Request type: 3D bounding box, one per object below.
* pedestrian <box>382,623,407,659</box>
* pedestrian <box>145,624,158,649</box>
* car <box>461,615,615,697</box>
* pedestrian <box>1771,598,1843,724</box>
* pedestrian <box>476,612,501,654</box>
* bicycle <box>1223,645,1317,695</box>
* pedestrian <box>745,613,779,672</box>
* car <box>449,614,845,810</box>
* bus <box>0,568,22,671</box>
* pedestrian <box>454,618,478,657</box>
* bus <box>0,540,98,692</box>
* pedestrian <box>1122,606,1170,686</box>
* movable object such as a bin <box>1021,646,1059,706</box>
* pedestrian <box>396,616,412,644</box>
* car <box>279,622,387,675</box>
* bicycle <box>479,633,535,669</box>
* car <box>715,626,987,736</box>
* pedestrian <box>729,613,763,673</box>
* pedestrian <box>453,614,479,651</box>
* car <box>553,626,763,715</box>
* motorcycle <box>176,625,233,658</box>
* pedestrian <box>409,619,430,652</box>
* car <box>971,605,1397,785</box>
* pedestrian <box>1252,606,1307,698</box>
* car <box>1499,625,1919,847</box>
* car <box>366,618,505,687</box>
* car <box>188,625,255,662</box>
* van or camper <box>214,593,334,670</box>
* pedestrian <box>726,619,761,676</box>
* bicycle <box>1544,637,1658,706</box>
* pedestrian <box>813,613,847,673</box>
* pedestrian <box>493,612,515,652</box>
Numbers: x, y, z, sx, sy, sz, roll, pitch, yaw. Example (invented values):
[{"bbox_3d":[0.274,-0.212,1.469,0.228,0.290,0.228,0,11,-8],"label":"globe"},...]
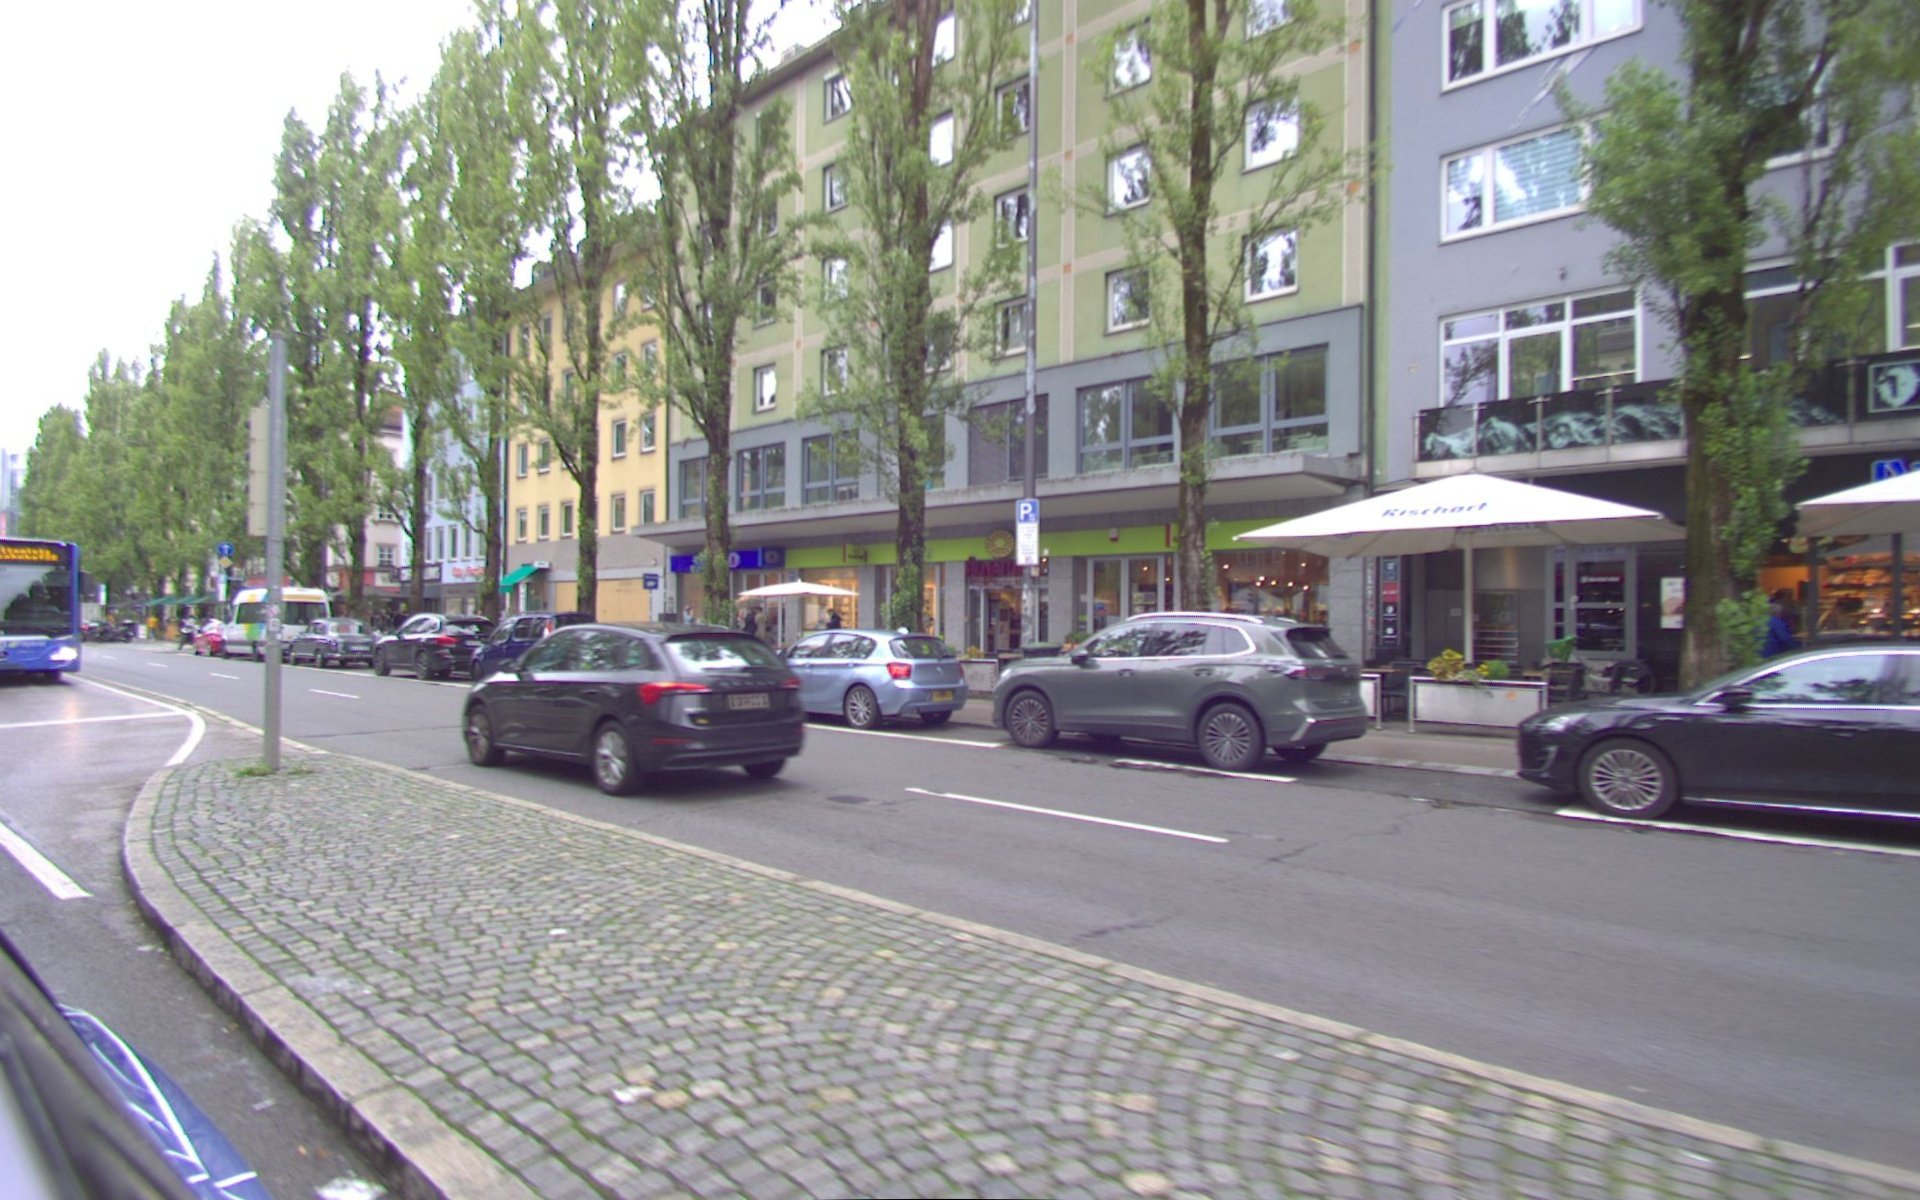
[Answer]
[{"bbox_3d":[-23.270,1.689,41.649,0.668,1.449,0.610,0,-1,-2],"label":"pedestrian"},{"bbox_3d":[-52.094,2.340,65.218,0.600,1.601,0.552,1,-2,-37],"label":"pedestrian"},{"bbox_3d":[-9.657,1.230,23.045,3.768,1.699,1.601,0,-4,40],"label":"car"},{"bbox_3d":[12.397,0.870,14.805,0.756,1.768,0.732,-1,-2,42],"label":"pedestrian"},{"bbox_3d":[-20.338,1.432,43.632,0.723,1.779,0.723,-1,-2,41],"label":"pedestrian"},{"bbox_3d":[6.479,1.447,21.219,1.849,0.979,0.474,-1,-2,43],"label":"bicycle"},{"bbox_3d":[-6.167,1.301,31.516,0.716,1.808,0.739,-1,-2,43],"label":"pedestrian"},{"bbox_3d":[-3.118,0.906,9.669,4.049,1.476,1.738,-1,-3,42],"label":"car"},{"bbox_3d":[-32.796,0.640,32.556,12.855,2.925,2.769,-1,-2,42],"label":"bus"},{"bbox_3d":[-21.048,1.583,43.101,0.712,1.663,0.714,-1,-2,42],"label":"pedestrian"},{"bbox_3d":[-23.305,0.407,23.914,12.854,2.925,2.769,-1,-2,42],"label":"bus"},{"bbox_3d":[4.033,0.991,21.952,0.756,1.685,0.701,-1,-2,42],"label":"pedestrian"},{"bbox_3d":[1.448,1.362,18.311,0.654,1.055,0.729,0,-1,2],"label":"movable object such as a bin"},{"bbox_3d":[-28.913,1.559,52.626,0.551,1.449,0.601,-1,-2,42],"label":"pedestrian"},{"bbox_3d":[-20.004,1.498,32.232,4.258,1.541,1.685,0,-3,40],"label":"car"},{"bbox_3d":[-14.758,1.648,33.021,0.358,1.124,1.657,-1,-2,42],"label":"bicycle"},{"bbox_3d":[-1.792,1.154,15.678,4.399,1.428,1.640,0,-3,41],"label":"car"},{"bbox_3d":[-6.572,1.305,31.046,0.716,1.808,0.739,-1,-2,43],"label":"pedestrian"},{"bbox_3d":[-19.746,1.297,40.480,0.550,1.449,0.759,-1,-2,37],"label":"pedestrian"},{"bbox_3d":[-5.839,1.248,19.258,4.584,1.457,1.685,0,-2,42],"label":"car"},{"bbox_3d":[-34.452,1.879,46.189,0.569,1.432,2.000,-1,-2,35],"label":"motorcycle"},{"bbox_3d":[-27.148,1.775,50.805,0.678,1.663,0.714,-1,-2,42],"label":"pedestrian"},{"bbox_3d":[2.418,0.948,11.781,4.586,1.693,1.760,-1,-3,43],"label":"car"},{"bbox_3d":[6.289,1.012,19.941,0.756,1.768,0.809,-1,-2,42],"label":"pedestrian"},{"bbox_3d":[6.749,0.968,7.769,4.368,1.477,1.659,0,-3,41],"label":"car"},{"bbox_3d":[-13.705,1.313,26.326,4.502,1.645,1.685,-1,-3,42],"label":"car"},{"bbox_3d":[-30.335,1.756,41.522,3.761,1.422,1.538,-1,-2,43],"label":"car"},{"bbox_3d":[-25.061,1.112,36.849,6.643,2.570,2.103,-1,-2,43],"label":"van or camper"},{"bbox_3d":[-6.410,1.389,29.979,0.712,1.663,0.714,-1,-2,42],"label":"pedestrian"},{"bbox_3d":[10.719,1.176,16.977,1.575,1.105,0.612,-1,-2,31],"label":"bicycle"},{"bbox_3d":[-3.907,1.293,30.463,0.715,1.768,0.714,-1,-2,42],"label":"pedestrian"},{"bbox_3d":[-19.928,1.385,44.193,0.723,1.717,0.632,-1,-2,42],"label":"pedestrian"}]
